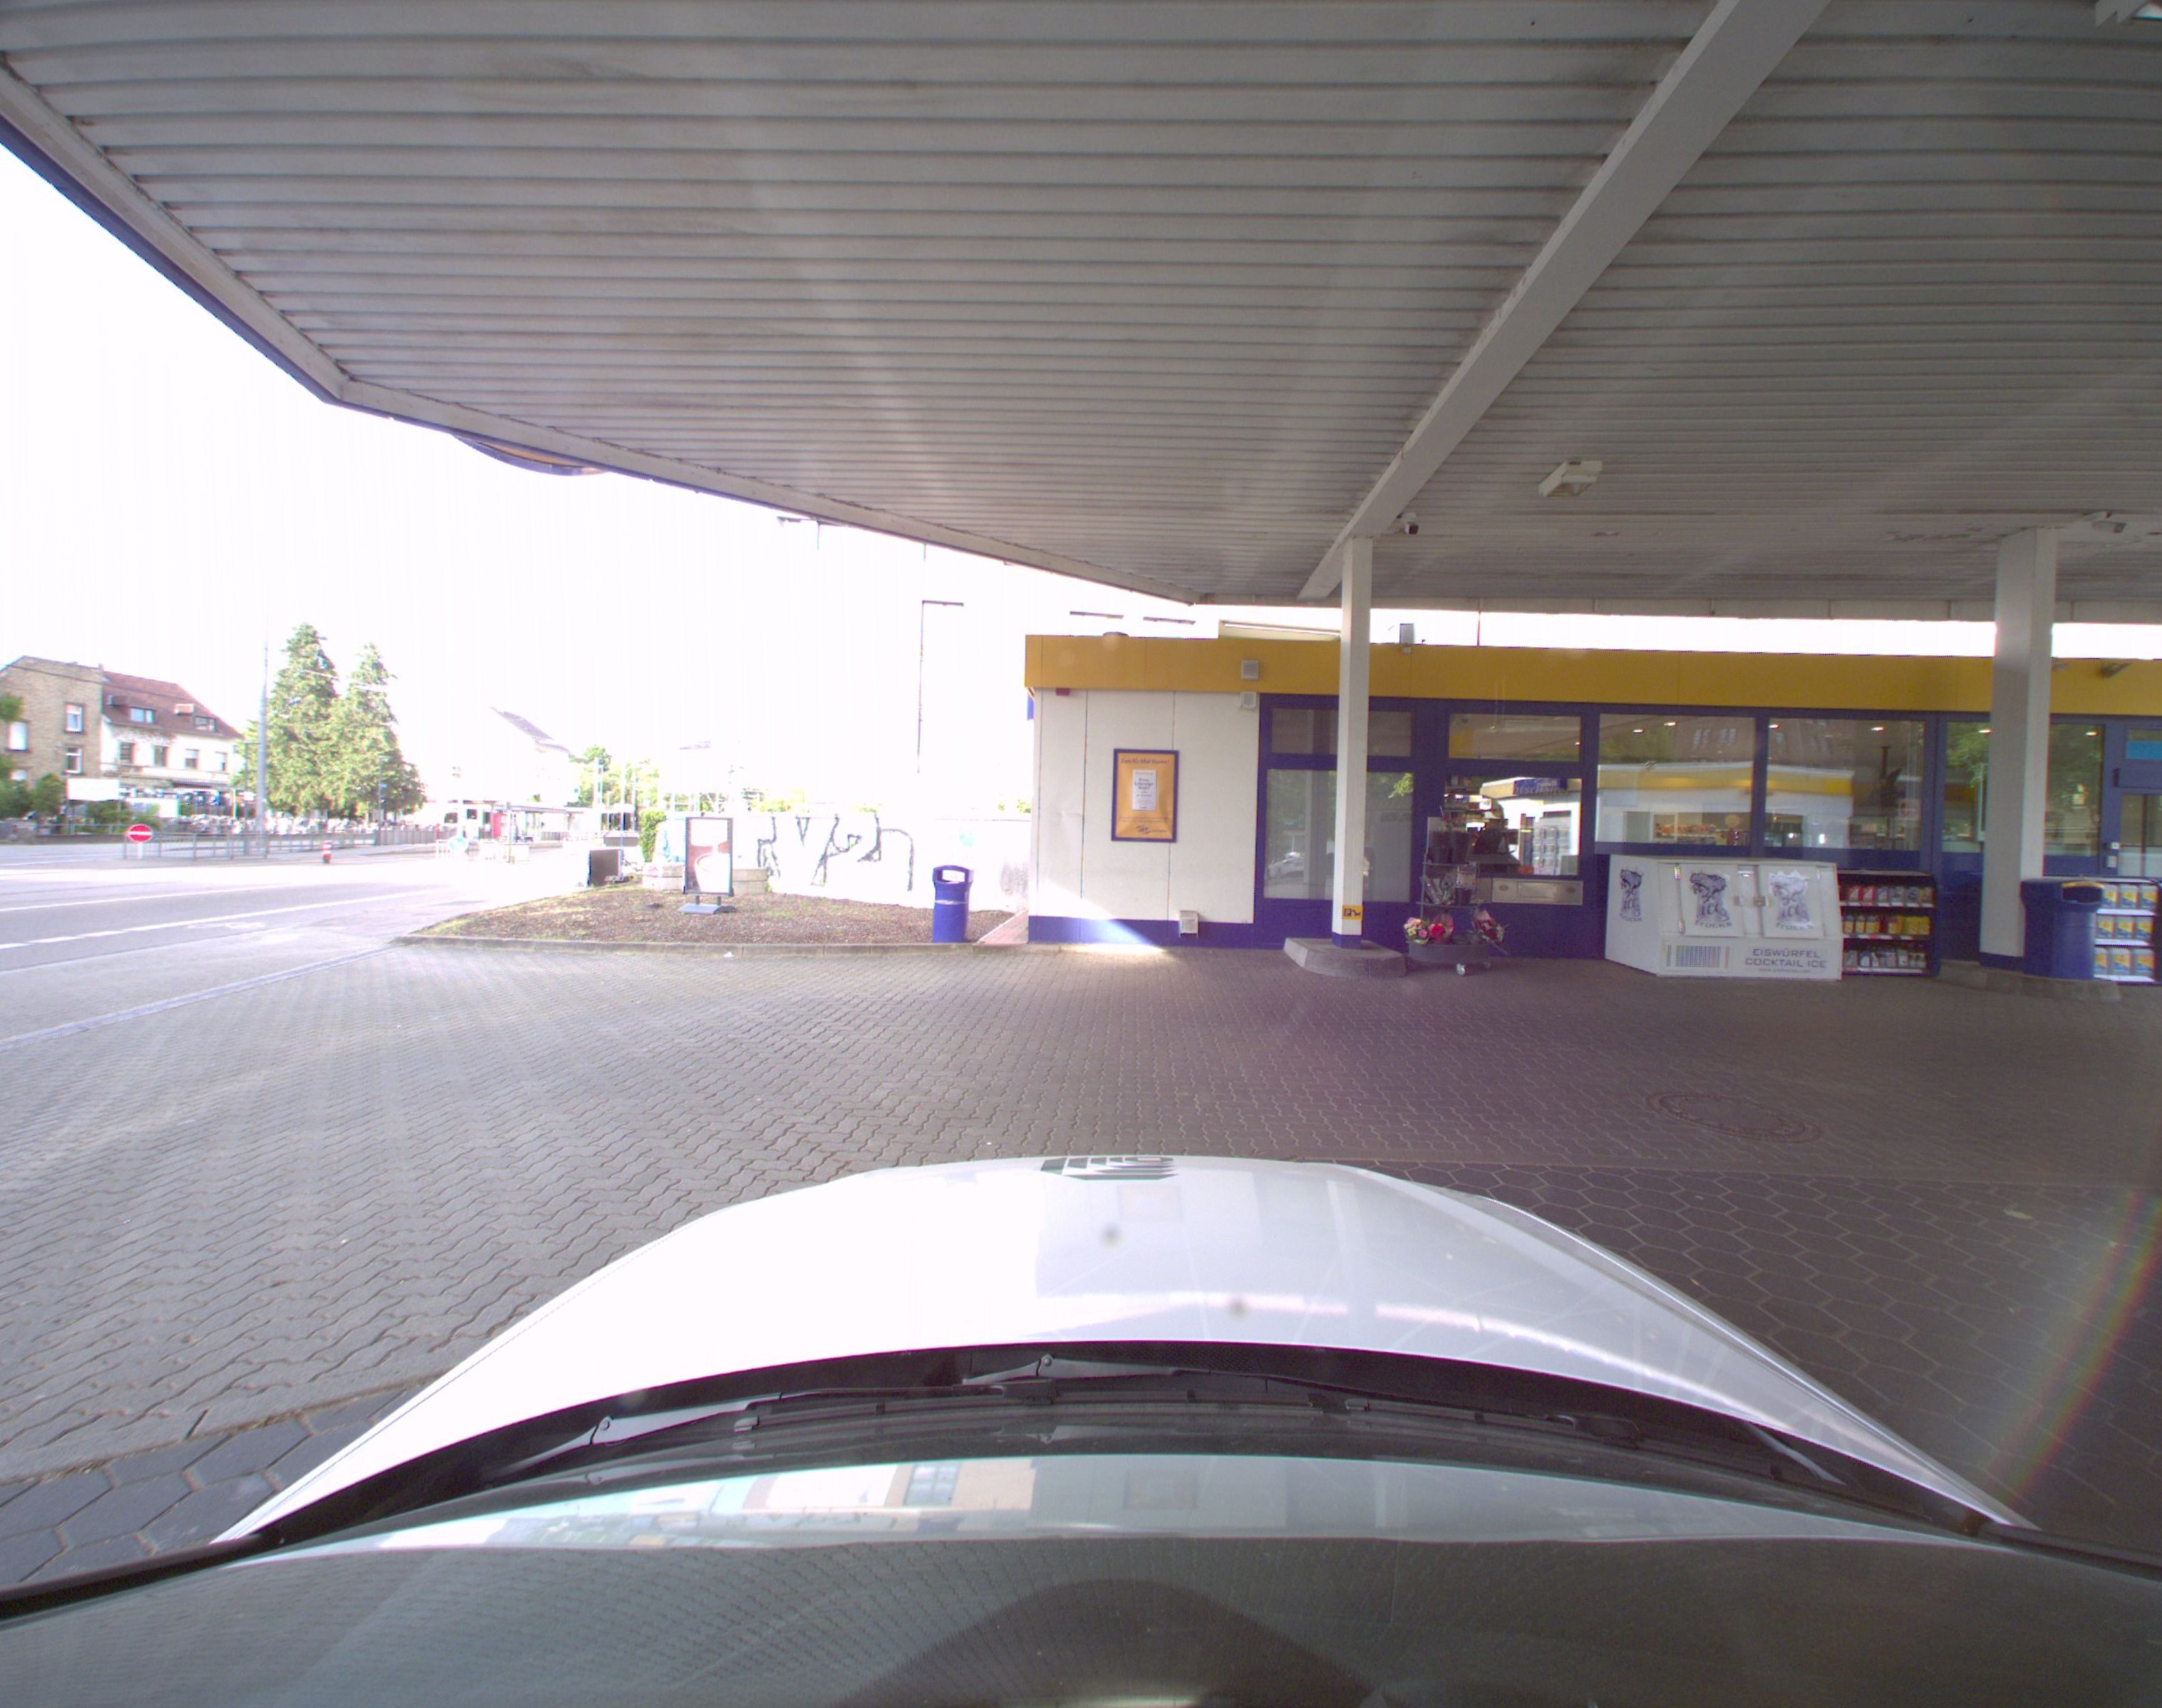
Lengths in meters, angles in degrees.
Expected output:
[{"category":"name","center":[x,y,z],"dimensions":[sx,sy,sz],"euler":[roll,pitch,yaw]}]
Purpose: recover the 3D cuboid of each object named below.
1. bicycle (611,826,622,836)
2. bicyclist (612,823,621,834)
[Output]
[{"category":"bicycle","center":[-60.184,-3.003,105.447],"dimensions":[0.751,1.203,1.810],"euler":[5,0,-18]},{"category":"bicyclist","center":[-60.134,-3.304,105.384],"dimensions":[0.752,1.409,0.915],"euler":[5,0,-19]}]
